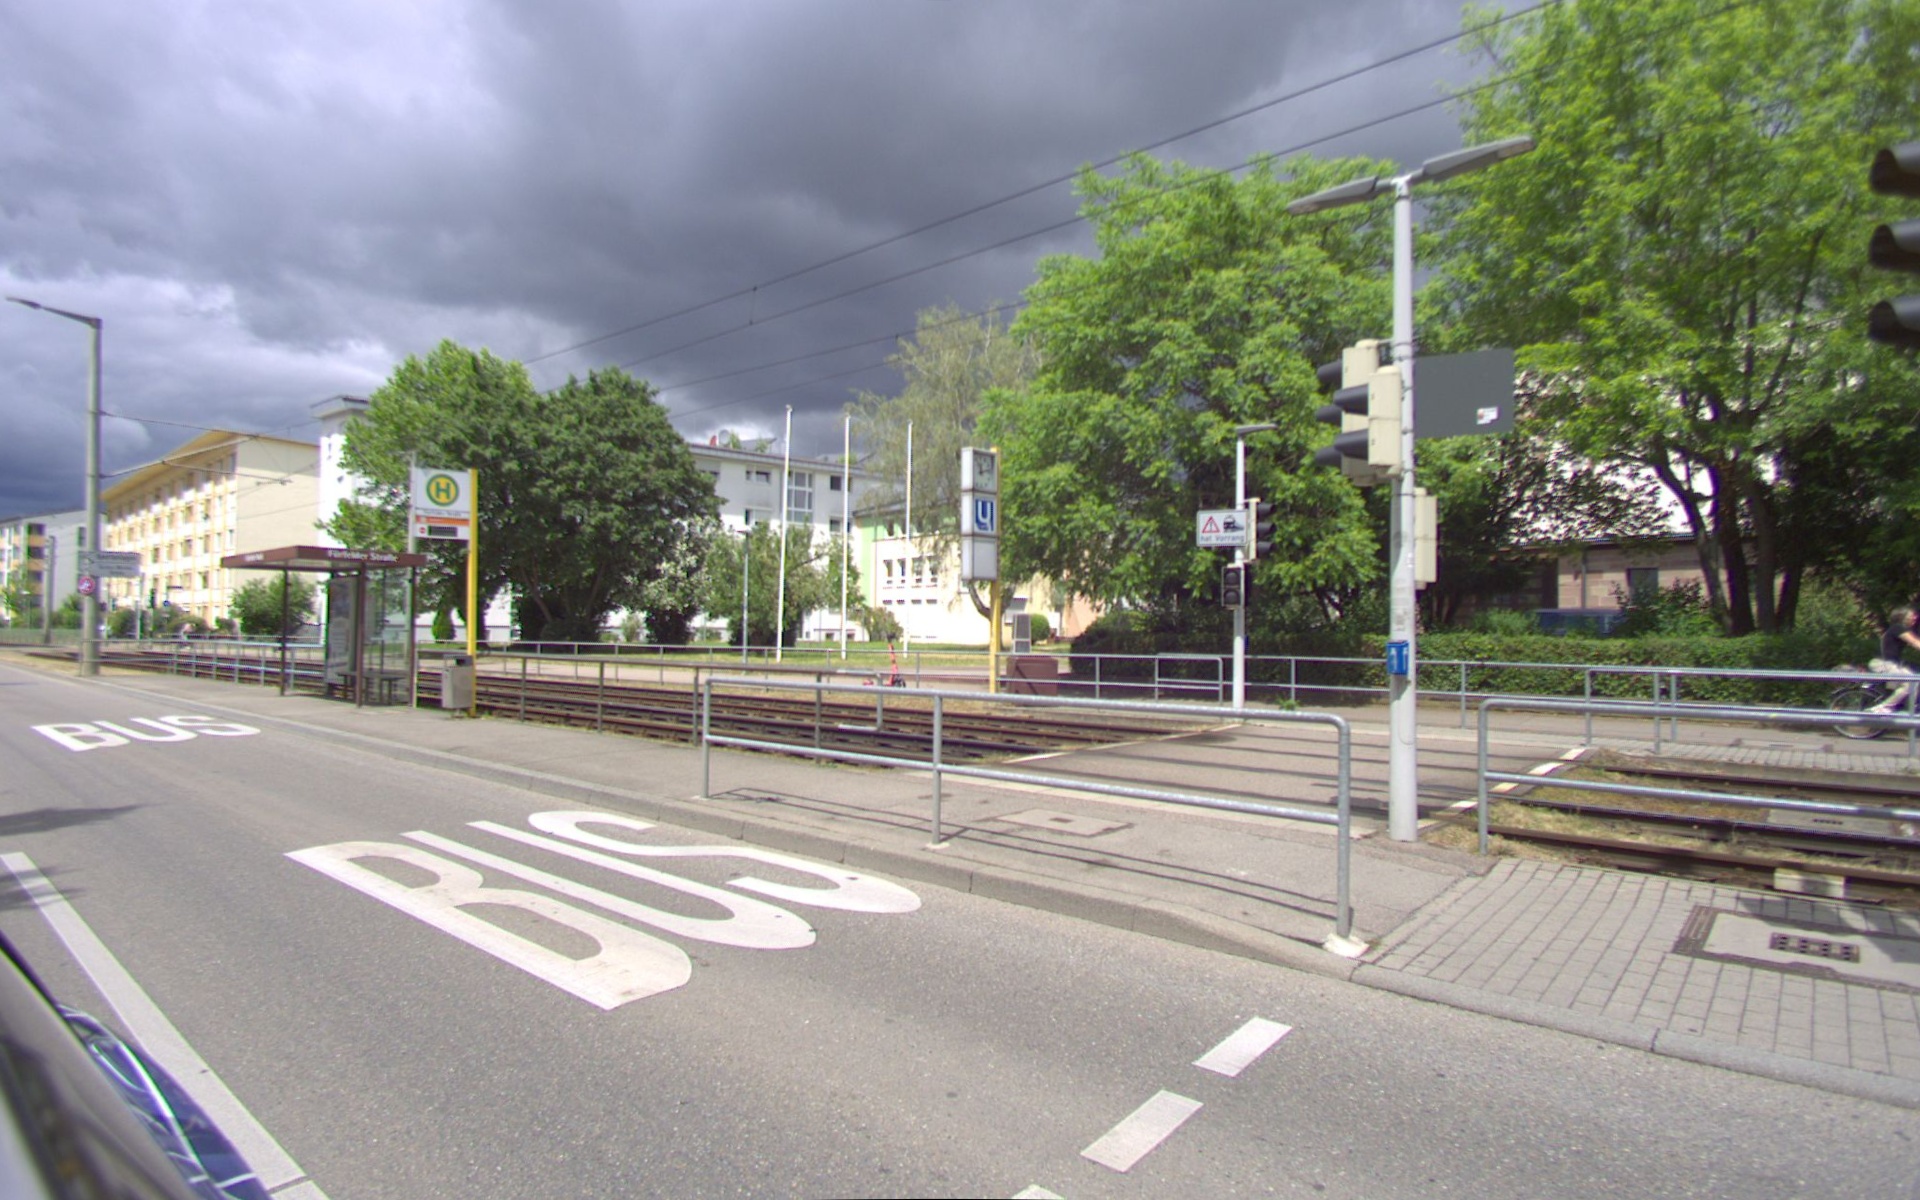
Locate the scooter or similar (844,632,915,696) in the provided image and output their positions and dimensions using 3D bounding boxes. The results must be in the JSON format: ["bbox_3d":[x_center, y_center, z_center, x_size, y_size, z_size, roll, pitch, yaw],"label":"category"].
[{"bbox_3d":[-1.670,1.303,20.806,1.400,1.246,0.642,-2,-2,42],"label":"scooter or similar"}]

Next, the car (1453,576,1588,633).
[{"bbox_3d":[21.149,0.217,38.295,1.967,2.029,4.009,1,-2,-36],"label":"car"}]

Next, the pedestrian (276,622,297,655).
[{"bbox_3d":[-32.501,1.843,48.803,0.873,1.552,0.606,-1,-2,39],"label":"pedestrian"}]

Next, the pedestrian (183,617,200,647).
[{"bbox_3d":[-44.810,1.858,58.991,0.679,1.705,0.638,-1,-2,41],"label":"pedestrian"}]

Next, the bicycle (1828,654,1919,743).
[{"bbox_3d":[11.625,1.180,12.059,1.927,1.001,0.631,-1,-1,41],"label":"bicycle"}]

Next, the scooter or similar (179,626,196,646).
[{"bbox_3d":[-45.417,2.115,59.507,0.891,1.172,0.602,-1,-2,41],"label":"scooter or similar"}]

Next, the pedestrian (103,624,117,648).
[{"bbox_3d":[-57.595,2.450,68.569,0.773,1.619,0.598,-1,-1,40],"label":"pedestrian"}]

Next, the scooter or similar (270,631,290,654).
[{"bbox_3d":[-33.167,2.073,49.341,0.820,1.123,0.598,-1,-2,39],"label":"scooter or similar"}]

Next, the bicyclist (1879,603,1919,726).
[{"bbox_3d":[11.560,0.757,12.112,0.790,1.440,0.626,-1,-1,41],"label":"bicyclist"}]
